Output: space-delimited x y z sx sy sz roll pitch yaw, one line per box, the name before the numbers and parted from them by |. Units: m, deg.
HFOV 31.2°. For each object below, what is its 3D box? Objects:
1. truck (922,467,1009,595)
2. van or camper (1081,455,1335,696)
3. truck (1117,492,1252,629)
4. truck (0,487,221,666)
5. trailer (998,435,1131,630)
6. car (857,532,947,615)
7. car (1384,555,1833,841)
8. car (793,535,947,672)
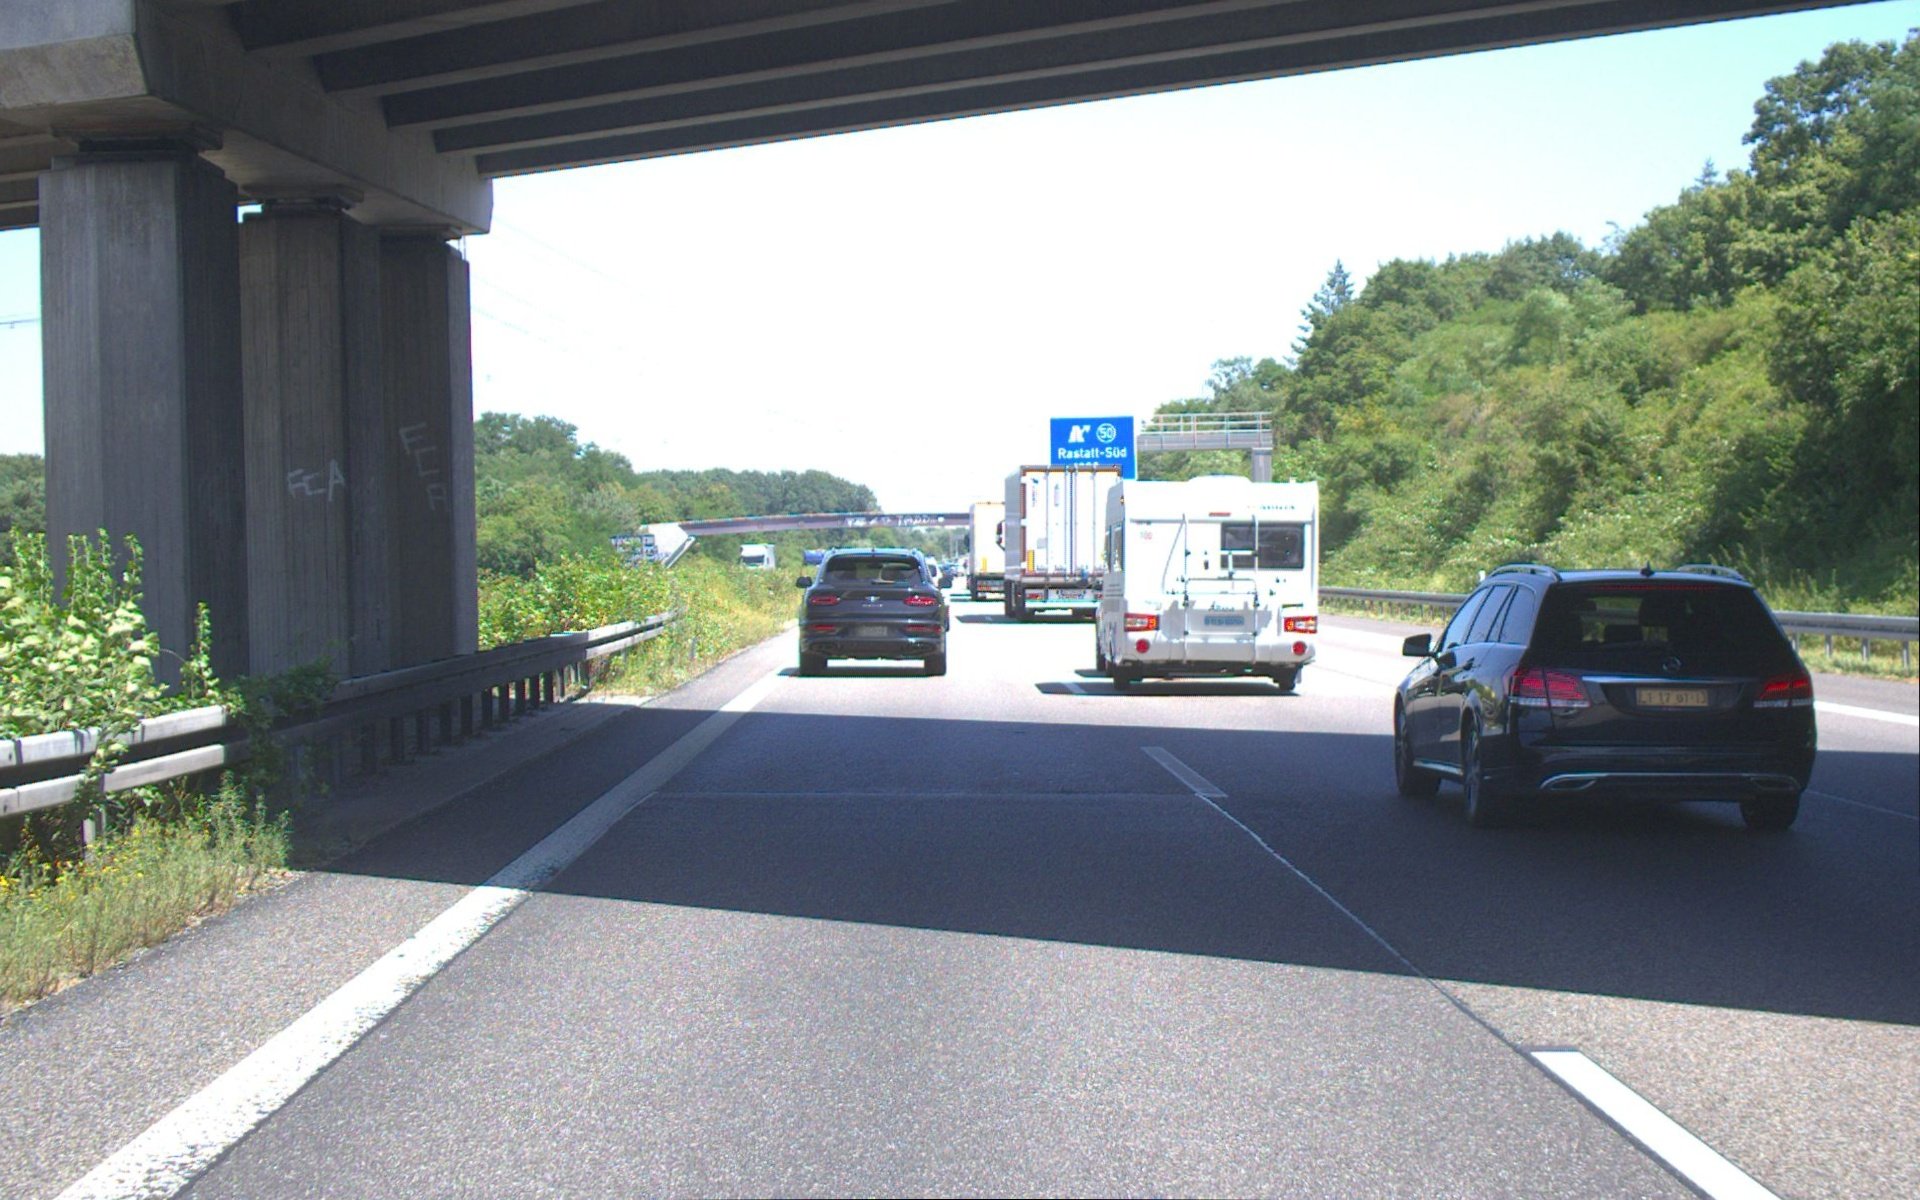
truck | 0.194 -2.843 144.098 3.512 5.149 10.259 0 1 0
van or camper | 2.900 -0.323 41.780 2.439 2.665 6.350 -1 1 -1
truck | 7.295 -1.284 113.385 3.571 4.230 11.652 1 0 0
truck | -19.587 -0.562 78.704 3.512 3.849 8.662 0 1 0
trailer | 2.706 -1.749 92.907 3.087 4.868 12.258 1 0 0
car | -1.334 -0.613 77.998 1.961 1.808 4.449 -1 1 -1
car | 3.731 0.490 20.613 1.841 1.500 4.738 0 1 1
car | -1.229 0.011 47.164 1.993 1.766 4.000 -1 1 -1
